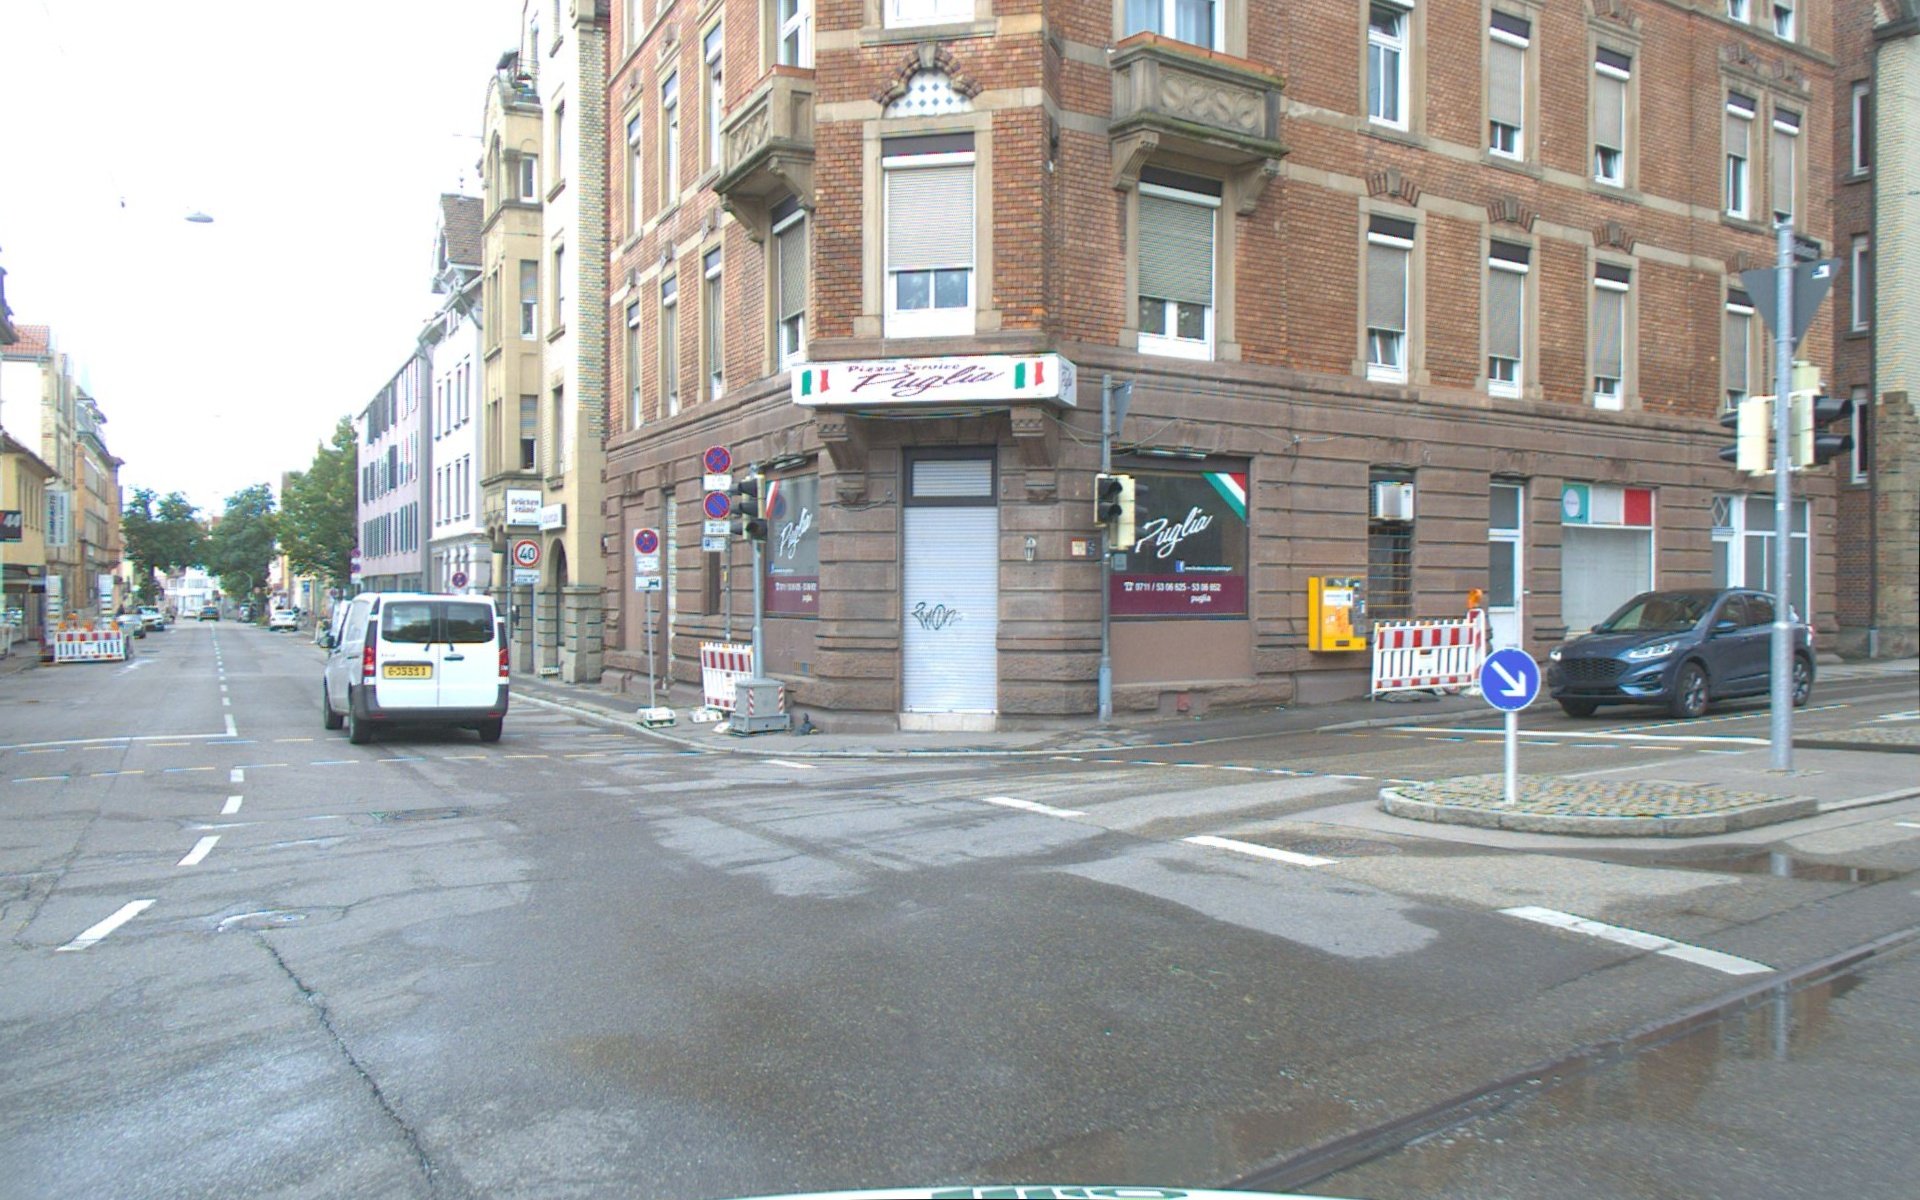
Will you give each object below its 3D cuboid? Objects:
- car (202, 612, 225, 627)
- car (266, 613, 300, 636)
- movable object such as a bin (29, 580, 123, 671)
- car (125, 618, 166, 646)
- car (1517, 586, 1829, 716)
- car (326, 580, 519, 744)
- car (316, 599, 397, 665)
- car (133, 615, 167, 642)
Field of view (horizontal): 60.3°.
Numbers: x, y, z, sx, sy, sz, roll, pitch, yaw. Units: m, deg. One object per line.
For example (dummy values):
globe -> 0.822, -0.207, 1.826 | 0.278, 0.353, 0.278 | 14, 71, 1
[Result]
car -> -82.780, 2.182, 183.472 | 1.964, 1.646, 3.975 | -1, -1, -20
car -> -48.635, 1.780, 118.741 | 1.969, 1.512, 3.967 | 4, -2, -25
movable object such as a bin -> -29.825, 0.844, 55.927 | 2.506, 2.874, 4.501 | -2, 0, -26
car -> -45.780, 1.799, 92.975 | 1.969, 1.467, 3.967 | -1, 0, -25
car -> 9.722, 0.662, 22.468 | 4.237, 1.541, 1.975 | -1, -2, -36
car -> -7.366, 0.807, 22.367 | 1.868, 1.963, 4.606 | -1, -2, -26
car -> -19.965, 1.046, 54.609 | 2.101, 2.040, 4.887 | 2, -1, -25
car -> -56.351, 1.943, 115.084 | 1.969, 1.772, 3.966 | 3, -2, -26
